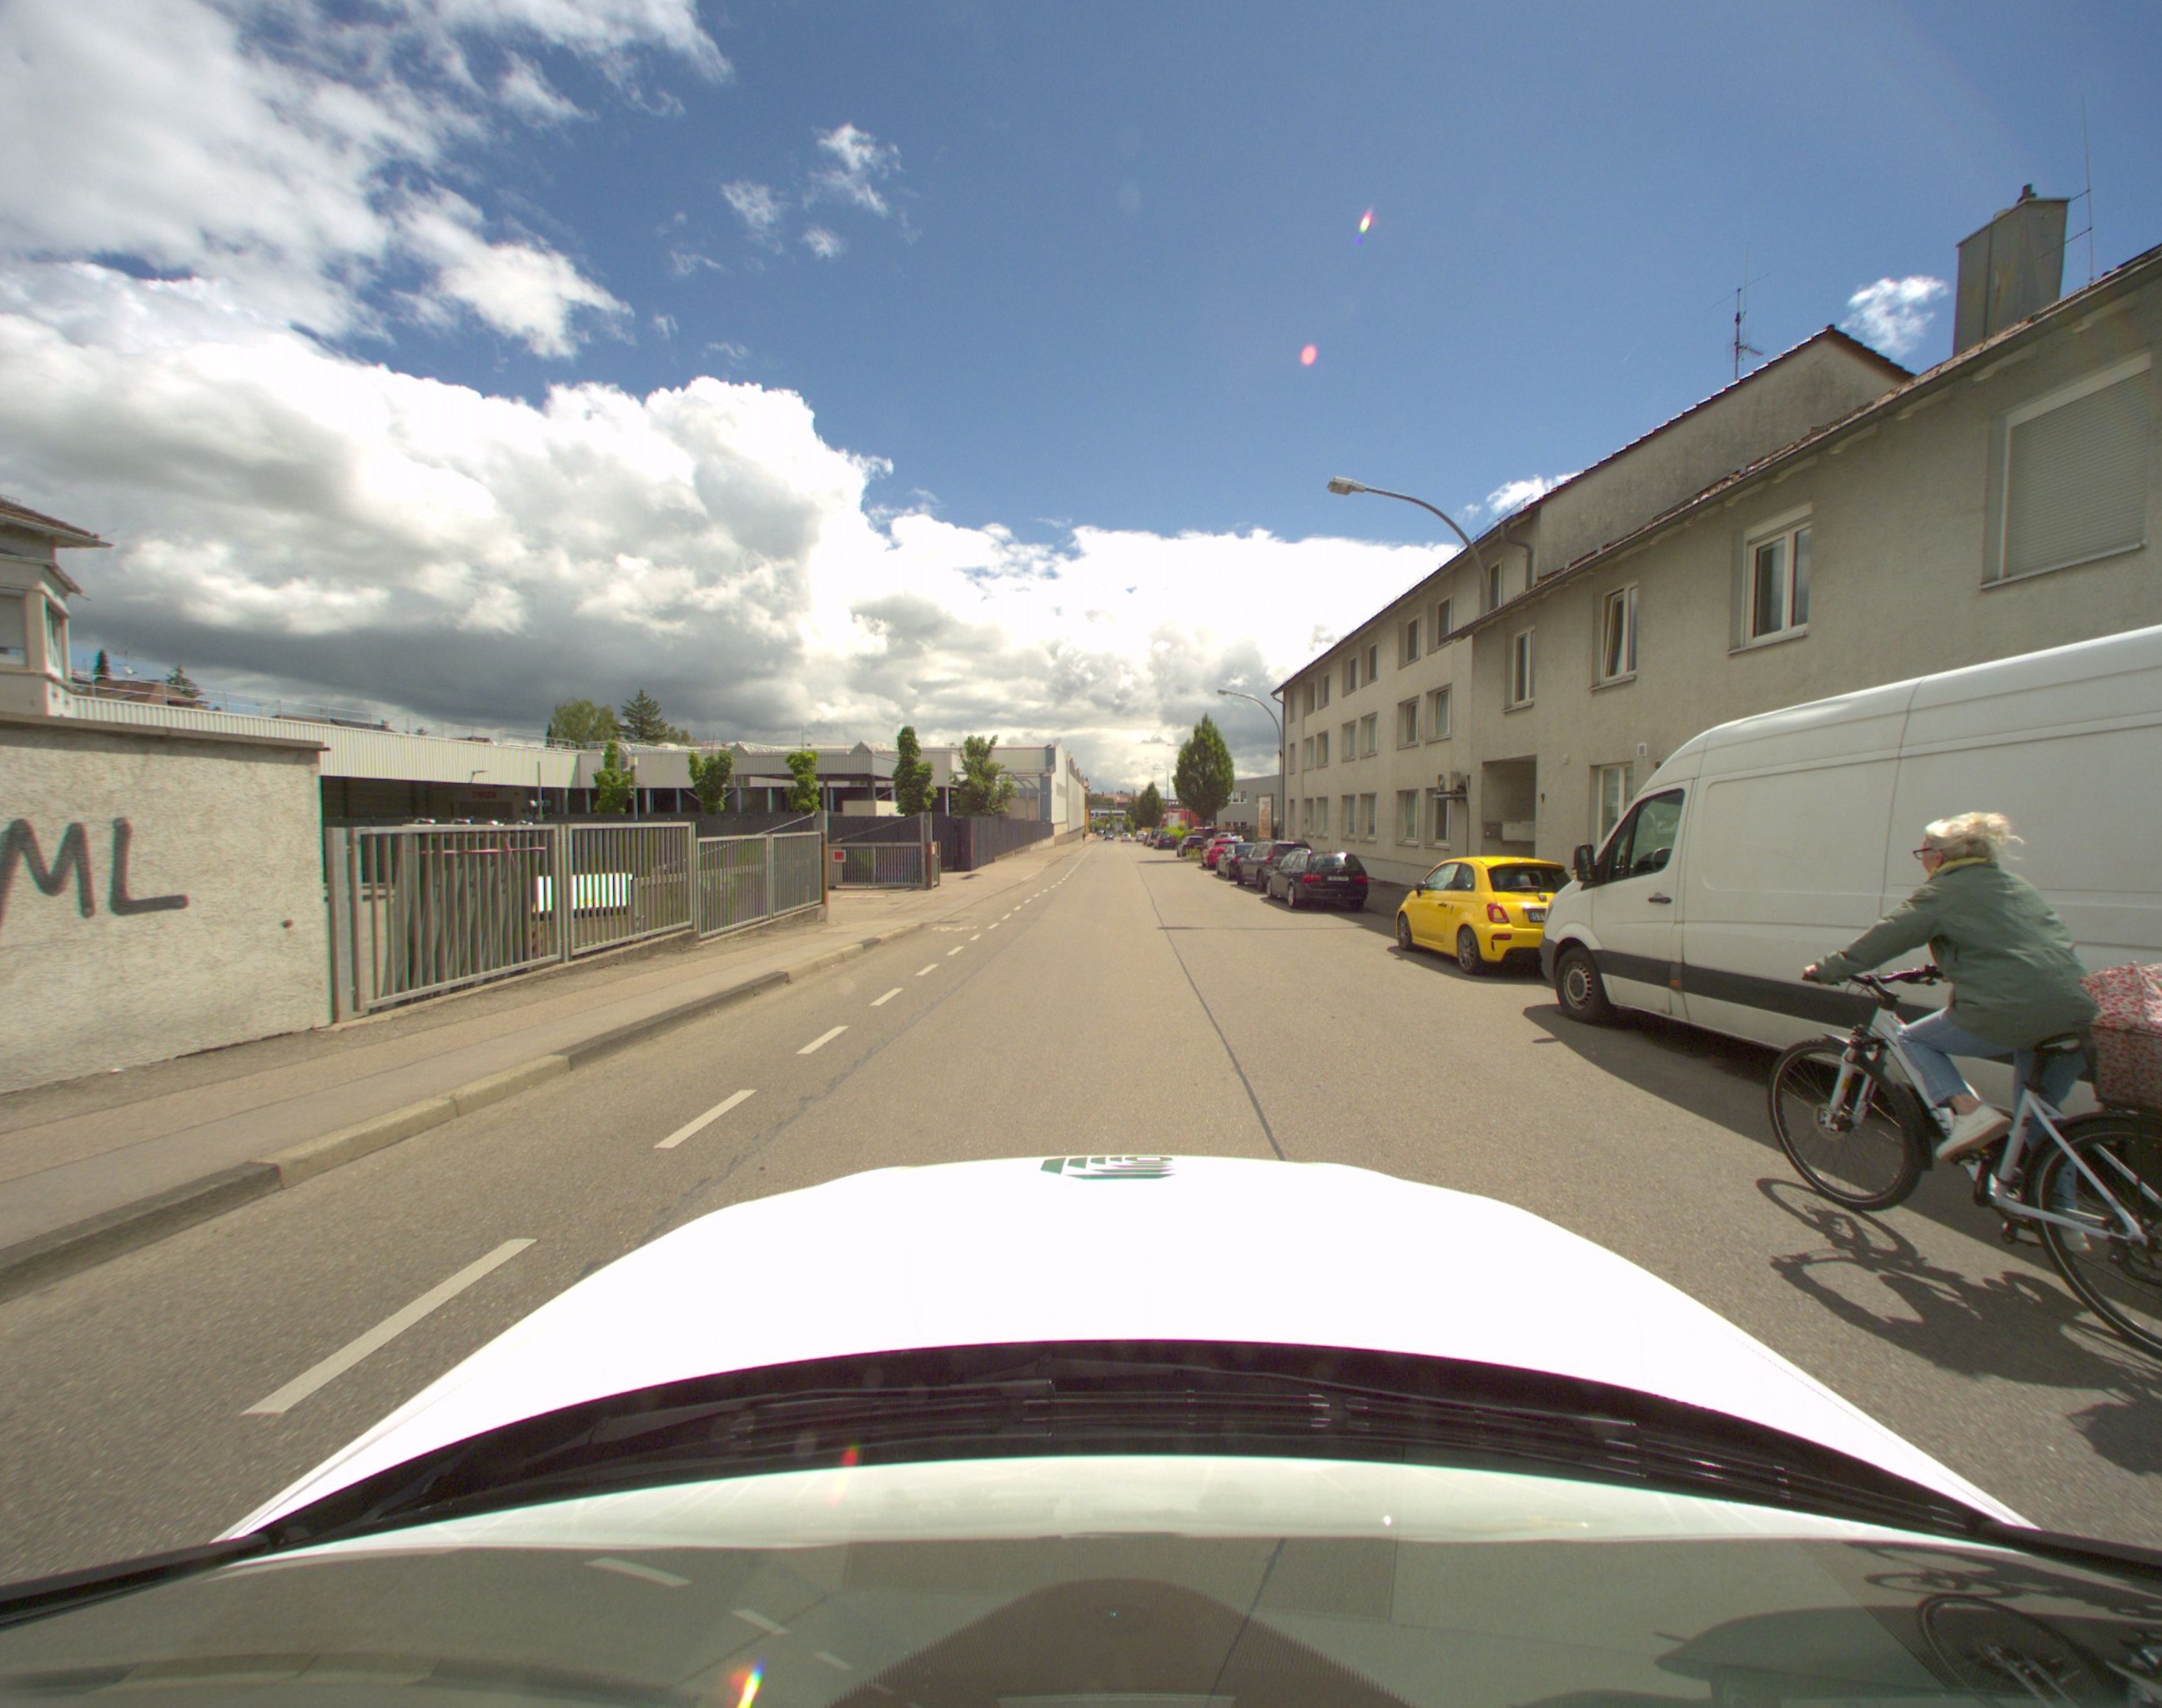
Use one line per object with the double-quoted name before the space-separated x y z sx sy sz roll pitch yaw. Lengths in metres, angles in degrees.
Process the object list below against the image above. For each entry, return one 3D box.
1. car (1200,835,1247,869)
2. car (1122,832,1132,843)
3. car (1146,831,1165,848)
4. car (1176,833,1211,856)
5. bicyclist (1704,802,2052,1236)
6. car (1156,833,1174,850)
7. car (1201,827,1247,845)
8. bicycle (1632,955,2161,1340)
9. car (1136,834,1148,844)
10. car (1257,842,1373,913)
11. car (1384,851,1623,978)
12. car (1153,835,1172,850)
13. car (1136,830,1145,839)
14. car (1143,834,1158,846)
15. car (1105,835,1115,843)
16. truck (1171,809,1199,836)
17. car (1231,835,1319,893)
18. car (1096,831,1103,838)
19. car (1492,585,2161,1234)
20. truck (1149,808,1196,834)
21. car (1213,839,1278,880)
"car" 6.834 -0.133 39.463 1.728 1.472 4.265 0 2 2
"car" 7.652 -2.756 136.727 1.561 1.786 3.607 0 -1 2
"car" 8.870 -1.718 97.152 1.862 1.990 5.146 0 1 2
"car" 7.633 -0.642 55.432 1.785 1.465 4.709 0 1 1
"bicyclist" 3.283 0.620 3.434 0.737 1.626 0.731 0 -1 -1
"car" 8.483 -1.274 82.077 1.672 1.638 4.127 0 1 4
"car" 13.227 -1.672 75.572 1.733 1.462 4.030 -5 2 -36
"bicycle" 3.287 1.041 3.454 0.738 0.975 1.732 0 1 0
"car" 10.538 -2.587 141.186 1.696 1.527 3.736 2 1 -2
"car" 6.042 0.515 21.667 1.698 1.509 5.089 2 2 1
"car" 5.690 0.710 11.518 1.586 1.447 3.793 0 1 3
"car" 8.682 -1.230 87.195 1.649 1.540 4.737 0 1 2
"car" 11.105 -3.636 151.911 1.694 1.527 3.742 0 1 4
"car" 9.414 -1.903 110.792 1.707 1.473 4.513 0 1 2
"car" 5.795 -2.974 162.669 1.713 1.555 4.289 -4 0 1
"truck" 18.859 -5.644 148.071 2.577 4.449 7.827 0 -1 -13
"car" 6.356 0.257 27.244 1.672 1.638 4.794 1 2 -2
"car" 4.663 -5.022 208.391 1.846 1.486 4.001 0 0 1
"car" 5.439 0.236 5.224 2.026 2.641 7.283 0 0 1
"truck" 17.391 -6.231 154.837 8.375 4.670 2.596 0 -1 23
"car" 6.501 0.151 32.703 1.729 1.423 4.862 1 2 1
